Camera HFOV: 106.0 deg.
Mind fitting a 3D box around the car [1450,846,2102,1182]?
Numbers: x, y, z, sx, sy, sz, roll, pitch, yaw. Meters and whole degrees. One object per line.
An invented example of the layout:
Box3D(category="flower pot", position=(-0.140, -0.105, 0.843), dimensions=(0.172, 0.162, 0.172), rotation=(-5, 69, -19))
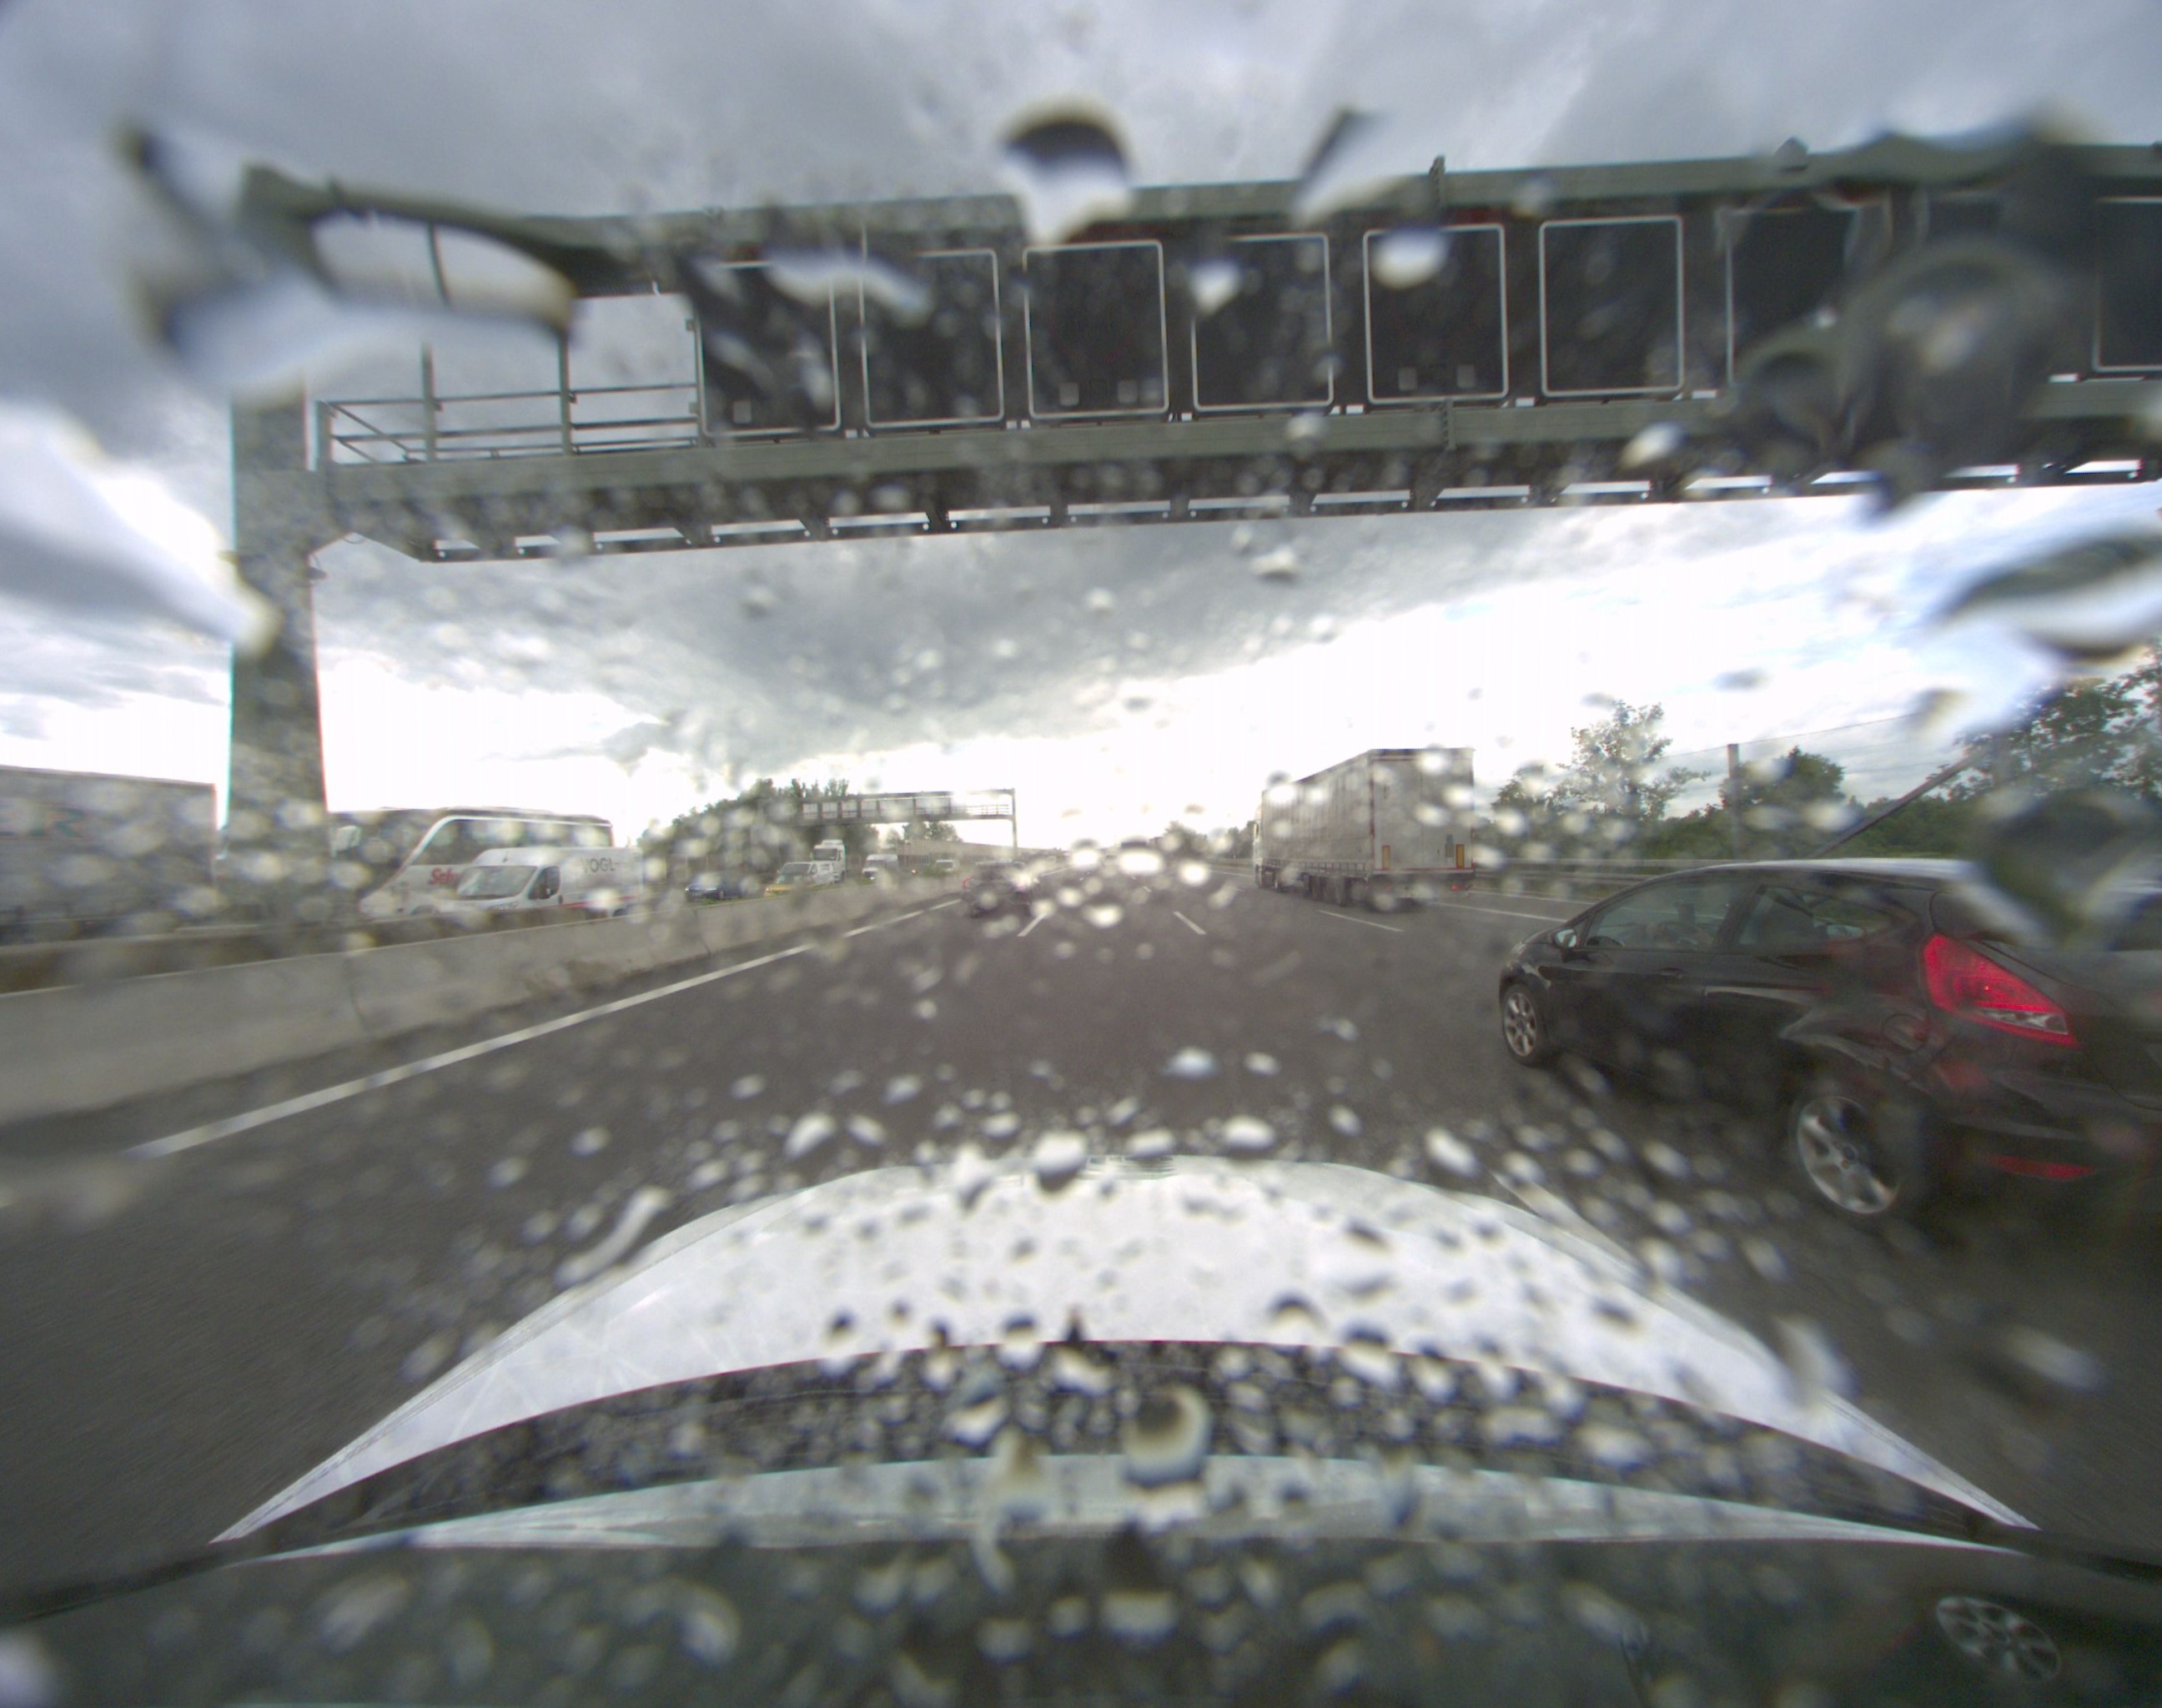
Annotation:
Box3D(category="car", position=(3.764, 0.701, 5.153), dimensions=(1.442, 1.441, 3.164), rotation=(-1, 0, 1))

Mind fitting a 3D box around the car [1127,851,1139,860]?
Box3D(category="car", position=(8.651, 0.253, 135.465), dimensions=(1.829, 1.441, 4.056), rotation=(-1, 0, 1))

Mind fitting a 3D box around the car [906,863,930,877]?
Box3D(category="car", position=(-18.717, 1.822, 93.657), dimensions=(1.809, 1.495, 3.902), rotation=(-2, 0, 2))

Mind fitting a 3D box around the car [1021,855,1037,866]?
Box3D(category="car", position=(-8.698, 0.992, 136.303), dimensions=(1.872, 1.744, 5.115), rotation=(-2, 0, 4))

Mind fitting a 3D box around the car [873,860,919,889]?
Box3D(category="car", position=(-14.819, 1.592, 65.585), dimensions=(2.235, 2.114, 5.544), rotation=(-2, 0, 2))

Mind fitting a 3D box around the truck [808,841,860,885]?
Box3D(category="truck", position=(-23.050, 0.782, 76.309), dimensions=(2.742, 3.887, 6.054), rotation=(-2, 0, 2))

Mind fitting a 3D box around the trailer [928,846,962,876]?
Box3D(category="trailer", position=(-15.087, 0.760, 90.619), dimensions=(2.440, 3.138, 6.054), rotation=(-2, 0, 2))

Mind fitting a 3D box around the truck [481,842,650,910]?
Box3D(category="truck", position=(-23.991, 0.939, 38.542), dimensions=(2.680, 2.814, 7.838), rotation=(-2, 0, 2))

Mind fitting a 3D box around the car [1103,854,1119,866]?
Box3D(category="car", position=(3.614, 0.700, 98.532), dimensions=(1.767, 1.441, 4.054), rotation=(-1, 0, 0))

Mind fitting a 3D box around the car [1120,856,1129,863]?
Box3D(category="car", position=(10.307, 1.270, 193.430), dimensions=(1.829, 1.441, 4.056), rotation=(-1, 0, 1))

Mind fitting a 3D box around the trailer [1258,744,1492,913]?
Box3D(category="trailer", position=(8.572, -0.647, 26.593), dimensions=(2.950, 4.020, 14.125), rotation=(-1, 0, 2))

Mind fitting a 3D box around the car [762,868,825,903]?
Box3D(category="car", position=(-12.806, 1.364, 36.460), dimensions=(1.608, 1.388, 3.328), rotation=(-1, 0, 0))

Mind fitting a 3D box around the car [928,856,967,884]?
Box3D(category="car", position=(-11.626, 1.354, 71.204), dimensions=(2.221, 2.237, 5.516), rotation=(-2, 0, 2))

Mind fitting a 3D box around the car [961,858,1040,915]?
Box3D(category="car", position=(-2.175, 0.855, 23.376), dimensions=(1.755, 1.369, 5.059), rotation=(-1, 0, 0))

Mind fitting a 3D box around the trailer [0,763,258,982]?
Box3D(category="trailer", position=(-21.030, 0.351, 12.072), dimensions=(2.875, 3.961, 14.302), rotation=(0, 0, 1))

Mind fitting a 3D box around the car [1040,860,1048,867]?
Box3D(category="car", position=(-9.583, 2.465, 210.707), dimensions=(1.740, 1.525, 4.930), rotation=(-2, 0, 3))

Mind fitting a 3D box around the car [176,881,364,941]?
Box3D(category="car", position=(-24.852, 1.688, 25.167), dimensions=(1.780, 1.542, 3.891), rotation=(-2, 0, 2))

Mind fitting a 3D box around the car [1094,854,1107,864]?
Box3D(category="car", position=(3.032, 0.737, 126.862), dimensions=(1.767, 1.441, 4.054), rotation=(-1, 0, 0))

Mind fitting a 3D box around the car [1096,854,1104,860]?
Box3D(category="car", position=(4.926, 0.813, 210.920), dimensions=(1.767, 1.441, 4.054), rotation=(-1, 0, -1))

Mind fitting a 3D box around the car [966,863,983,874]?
Box3D(category="car", position=(-16.568, 2.267, 127.106), dimensions=(1.815, 1.630, 4.527), rotation=(-2, 0, 2))

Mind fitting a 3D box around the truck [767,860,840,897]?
Box3D(category="truck", position=(-16.318, 1.386, 48.258), dimensions=(2.236, 2.000, 5.546), rotation=(-2, 0, 1))

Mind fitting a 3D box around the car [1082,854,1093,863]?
Box3D(category="car", position=(1.096, 0.714, 131.534), dimensions=(1.767, 1.441, 3.873), rotation=(-1, 0, 0))

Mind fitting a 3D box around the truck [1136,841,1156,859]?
Box3D(category="truck", position=(15.632, -1.000, 196.543), dimensions=(4.228, 4.176, 11.993), rotation=(0, 0, 1))

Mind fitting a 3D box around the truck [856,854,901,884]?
Box3D(category="truck", position=(-19.027, 1.373, 76.948), dimensions=(2.235, 2.604, 6.562), rotation=(-2, 0, 2))

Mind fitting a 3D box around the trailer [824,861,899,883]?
Box3D(category="trailer", position=(-22.626, 1.803, 85.368), dimensions=(2.742, 1.828, 16.358), rotation=(-2, 0, 2))

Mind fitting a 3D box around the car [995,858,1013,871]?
Box3D(category="car", position=(-10.664, 1.442, 112.534), dimensions=(1.809, 1.709, 4.809), rotation=(-2, 0, 2))

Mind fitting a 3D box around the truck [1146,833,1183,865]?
Box3D(category="truck", position=(11.822, -0.657, 116.346), dimensions=(4.166, 4.288, 12.613), rotation=(0, 0, 1))

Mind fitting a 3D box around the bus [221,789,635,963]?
Box3D(category="bus", position=(-17.052, 0.507, 22.932), dimensions=(2.643, 3.679, 10.640), rotation=(-2, 0, 2))

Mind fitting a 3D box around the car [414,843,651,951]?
Box3D(category="car", position=(-13.528, 0.936, 20.704), dimensions=(2.129, 2.351, 5.710), rotation=(0, 0, 0))

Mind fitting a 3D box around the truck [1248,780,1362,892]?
Box3D(category="truck", position=(8.806, -0.683, 32.867), dimensions=(2.950, 4.020, 6.591), rotation=(-1, 0, 2))

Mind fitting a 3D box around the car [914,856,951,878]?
Box3D(category="car", position=(-15.313, 1.294, 84.488), dimensions=(2.440, 2.051, 6.197), rotation=(-2, 0, 2))

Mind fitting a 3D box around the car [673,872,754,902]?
Box3D(category="car", position=(-19.759, 1.752, 44.065), dimensions=(1.956, 1.386, 4.947), rotation=(-2, 0, 2))
